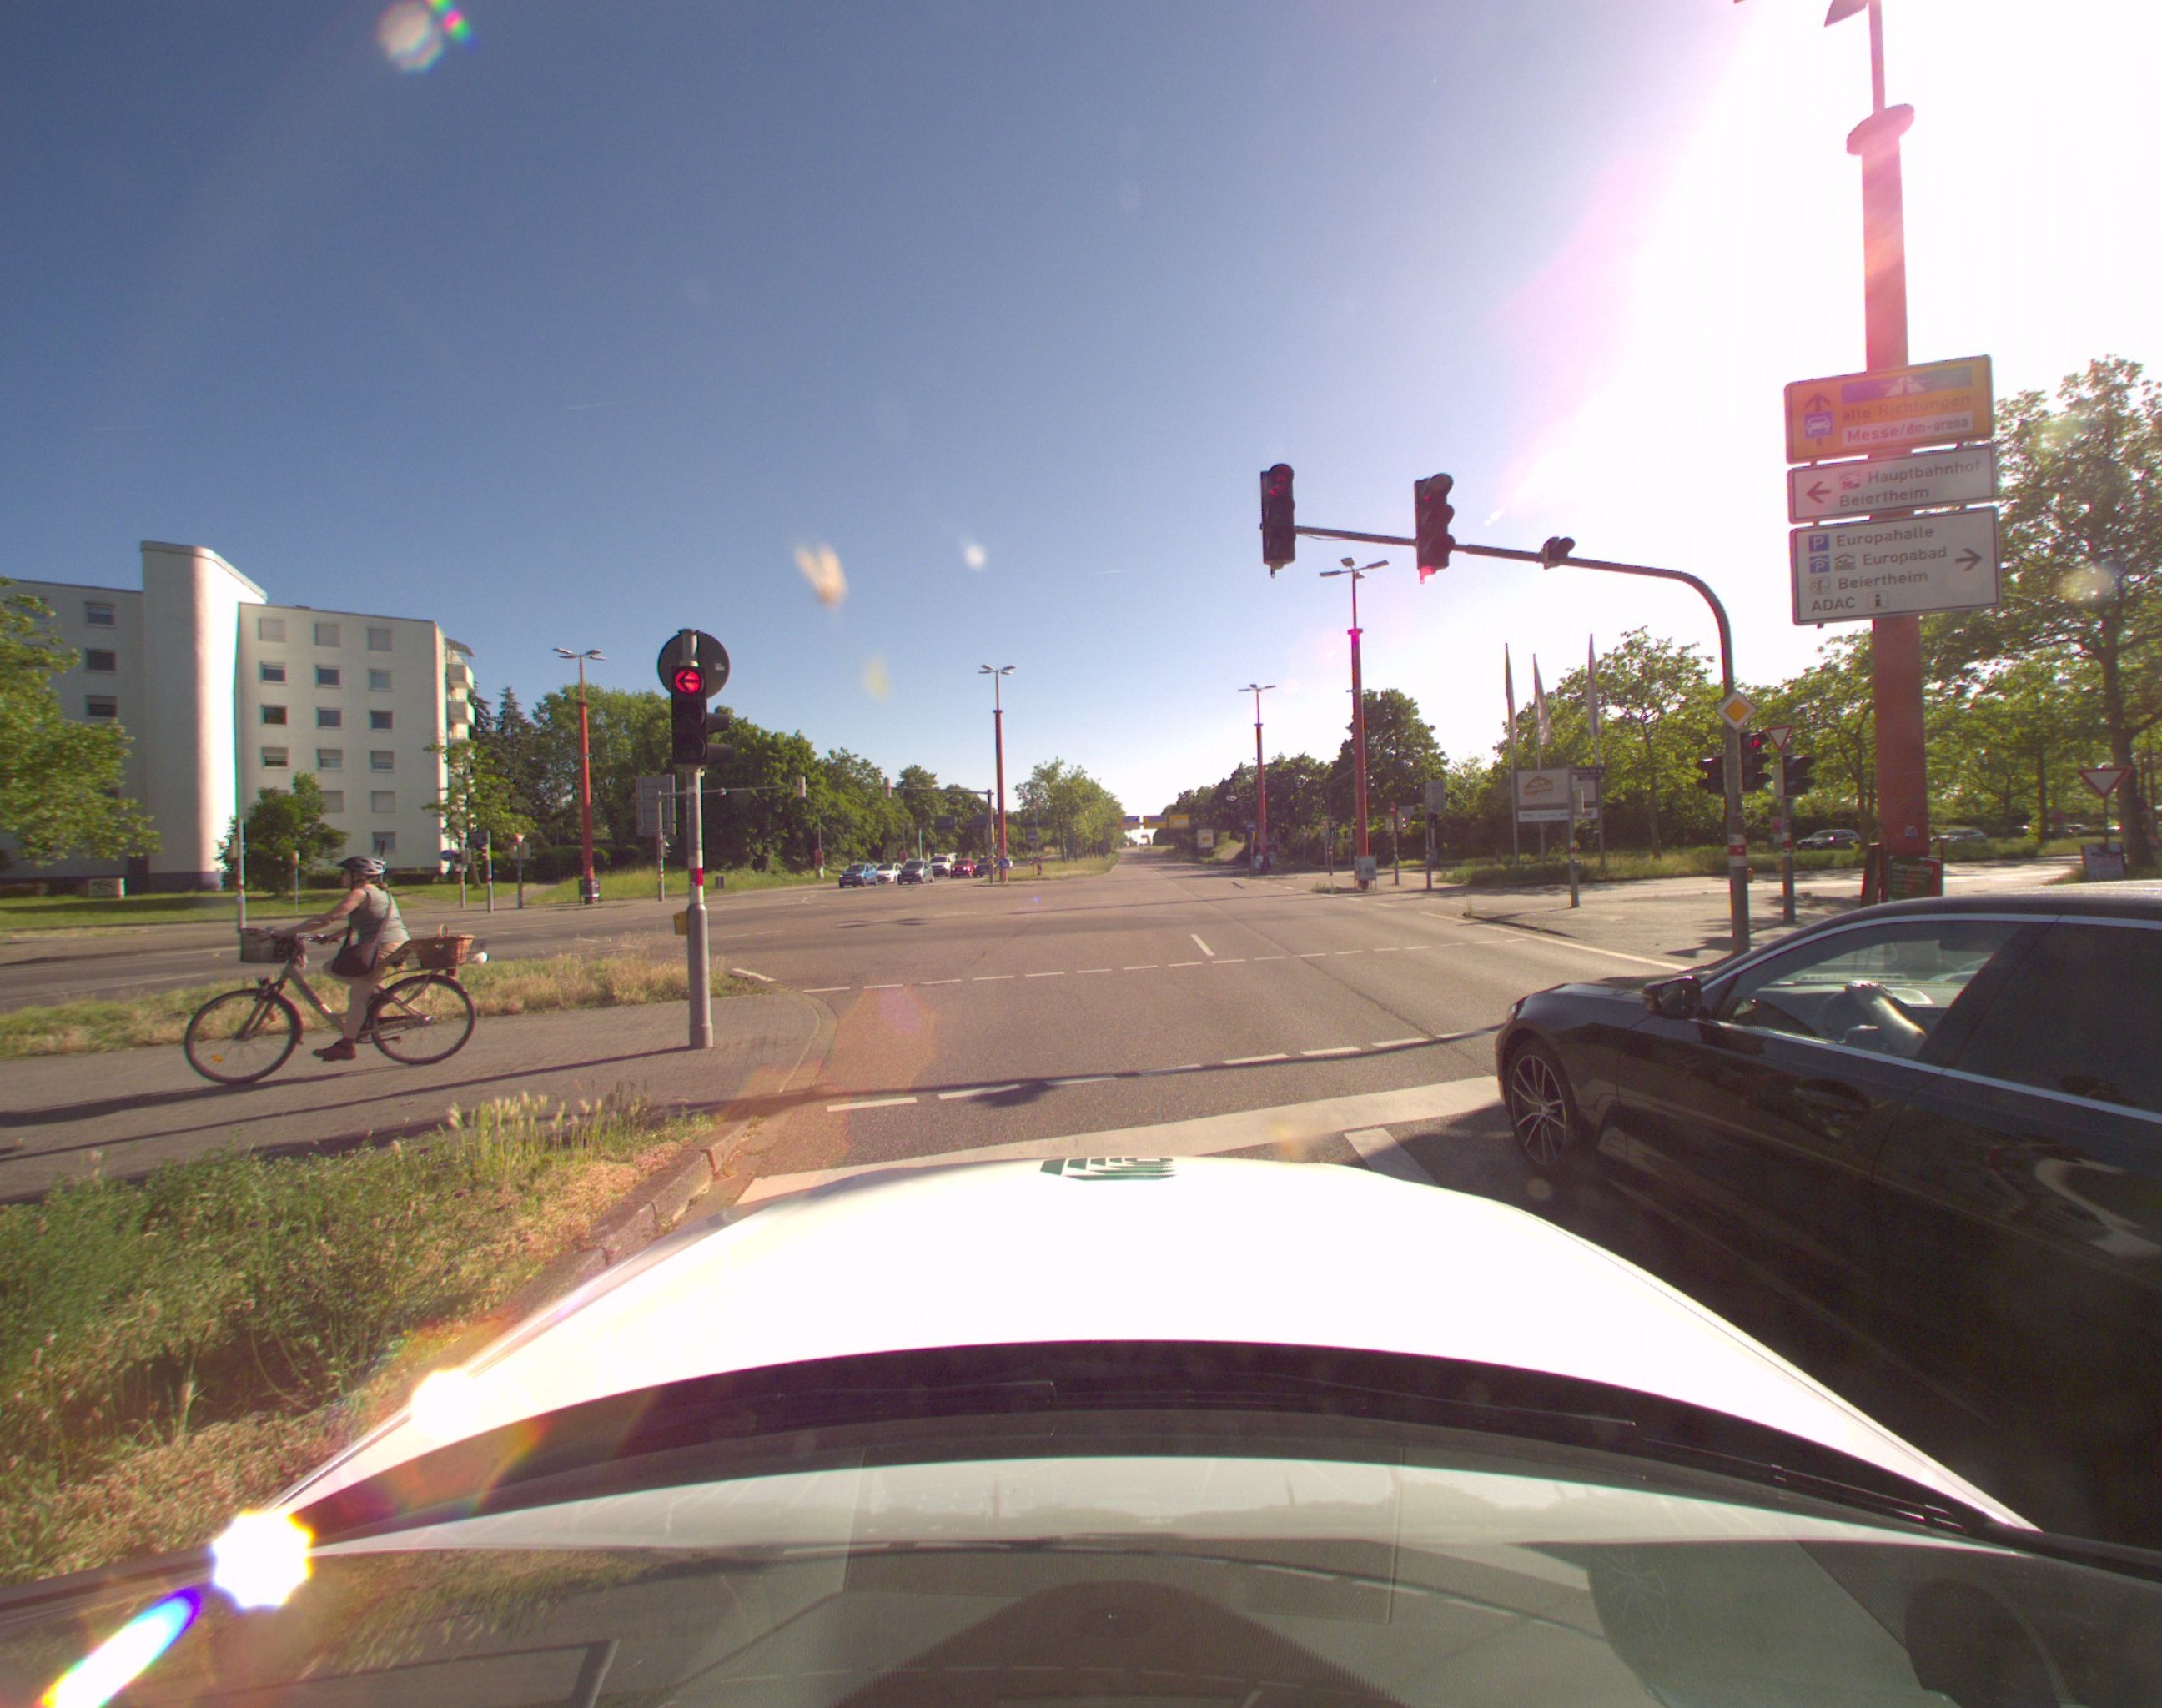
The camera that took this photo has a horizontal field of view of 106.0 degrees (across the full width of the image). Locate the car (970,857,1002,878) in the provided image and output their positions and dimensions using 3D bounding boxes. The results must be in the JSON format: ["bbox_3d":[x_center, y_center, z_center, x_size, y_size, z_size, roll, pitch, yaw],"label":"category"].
[{"bbox_3d":[-7.267,1.031,62.343,1.812,1.508,4.002,-2,0,2],"label":"car"}]

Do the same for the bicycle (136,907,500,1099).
[{"bbox_3d":[-5.844,1.089,6.414,1.952,1.195,0.686,-2,0,-26],"label":"bicycle"}]

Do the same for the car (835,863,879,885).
[{"bbox_3d":[-14.087,1.214,51.418,1.733,1.243,3.613,-2,0,1],"label":"car"}]

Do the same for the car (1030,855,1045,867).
[{"bbox_3d":[-6.398,1.005,120.456,1.812,1.629,4.002,-2,0,2],"label":"car"}]

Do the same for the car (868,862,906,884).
[{"bbox_3d":[-13.670,1.321,57.527,1.733,1.411,3.613,-2,0,1],"label":"car"}]

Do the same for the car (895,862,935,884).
[{"bbox_3d":[-10.603,1.190,52.305,1.733,1.243,3.613,-2,0,1],"label":"car"}]

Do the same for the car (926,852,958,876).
[{"bbox_3d":[-12.425,0.914,73.207,1.886,2.026,5.224,-1,0,1],"label":"car"}]

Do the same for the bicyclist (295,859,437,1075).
[{"bbox_3d":[-5.672,0.849,6.505,0.664,1.584,0.667,-2,0,-26],"label":"bicyclist"}]

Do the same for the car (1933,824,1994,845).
[{"bbox_3d":[68.238,-1.489,62.997,3.993,1.467,1.674,-2,0,-18],"label":"car"}]

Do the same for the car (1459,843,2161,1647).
[{"bbox_3d":[2.879,0.690,2.152,1.862,1.398,4.446,-2,0,3],"label":"car"}]

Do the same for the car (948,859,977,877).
[{"bbox_3d":[-9.555,1.092,66.039,1.733,1.362,3.613,-2,0,1],"label":"car"}]

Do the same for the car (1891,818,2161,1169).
[{"bbox_3d":[5.671,0.603,2.861,1.732,1.578,4.032,-2,0,3],"label":"car"}]

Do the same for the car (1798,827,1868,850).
[{"bbox_3d":[54.846,-1.116,59.418,4.325,1.485,1.775,-2,0,-17],"label":"car"}]
